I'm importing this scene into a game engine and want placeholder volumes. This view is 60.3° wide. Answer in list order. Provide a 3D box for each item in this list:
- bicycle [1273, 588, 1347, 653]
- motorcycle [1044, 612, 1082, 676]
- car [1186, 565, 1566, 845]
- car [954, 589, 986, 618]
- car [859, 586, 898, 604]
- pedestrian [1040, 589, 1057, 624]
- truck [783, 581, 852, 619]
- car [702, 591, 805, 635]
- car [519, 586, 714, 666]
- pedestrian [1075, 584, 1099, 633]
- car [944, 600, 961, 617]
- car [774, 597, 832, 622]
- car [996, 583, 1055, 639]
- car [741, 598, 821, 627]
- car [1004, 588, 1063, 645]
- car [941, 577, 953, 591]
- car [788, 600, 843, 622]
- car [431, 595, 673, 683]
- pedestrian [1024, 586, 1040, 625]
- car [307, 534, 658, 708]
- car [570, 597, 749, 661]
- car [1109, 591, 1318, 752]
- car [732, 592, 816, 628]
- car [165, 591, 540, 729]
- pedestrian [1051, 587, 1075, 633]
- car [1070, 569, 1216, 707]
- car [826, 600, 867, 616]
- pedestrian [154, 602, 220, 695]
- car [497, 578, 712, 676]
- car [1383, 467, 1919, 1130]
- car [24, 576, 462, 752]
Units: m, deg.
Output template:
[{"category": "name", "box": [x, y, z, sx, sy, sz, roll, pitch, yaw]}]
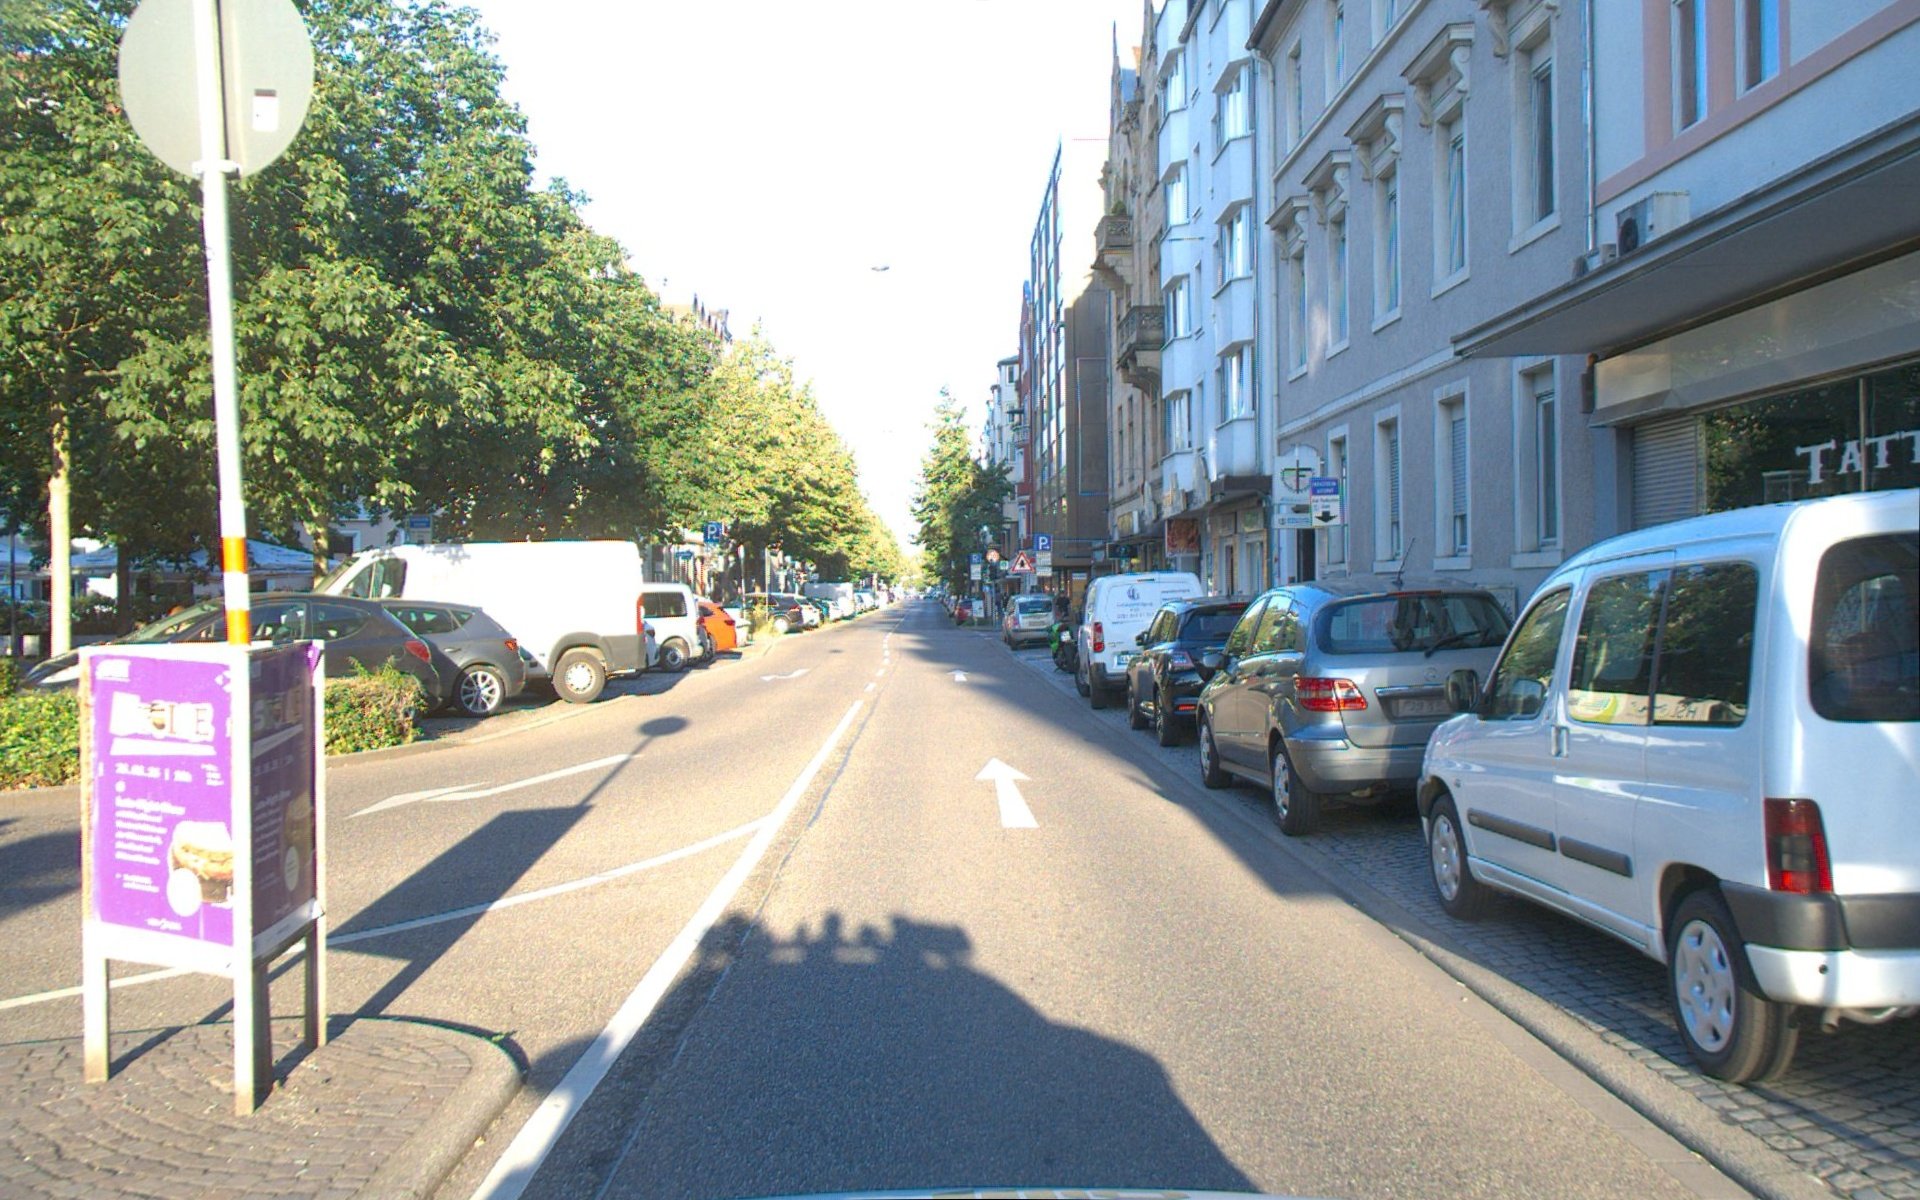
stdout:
[{"category": "bicycle", "box": [5.655, 0.332, 26.836, 0.447, 1.029, 1.706, 0, -1, -15]}, {"category": "motorcycle", "box": [2.097, 0.881, 33.883, 0.576, 1.221, 2.210, 0, 1, -2]}, {"category": "car", "box": [2.808, 0.618, 12.084, 1.623, 1.694, 4.106, 0, 0, -2]}, {"category": "car", "box": [0.577, 0.209, 97.679, 1.545, 1.569, 3.394, -3, 0, -4]}, {"category": "car", "box": [-7.888, -0.496, 160.002, 3.664, 1.738, 1.999, 0, 1, -2]}, {"category": "pedestrian", "box": [4.472, 0.339, 83.709, 0.750, 1.718, 0.785, -2, 0, -4]}, {"category": "truck", "box": [-10.318, -0.006, 120.102, 4.841, 2.661, 1.999, 0, 0, -2]}, {"category": "car", "box": [-9.176, 0.573, 73.729, 4.359, 1.867, 2.033, 0, 2, -2]}, {"category": "car", "box": [-7.726, 0.567, 37.336, 3.958, 1.726, 1.727, 1, 0, -38]}, {"category": "pedestrian", "box": [4.628, 0.300, 60.402, 0.740, 1.798, 1.222, 0, 0, -2]}, {"category": "car", "box": [-0.598, 0.652, 129.694, 1.182, 1.323, 2.658, 0, 0, -4]}, {"category": "car", "box": [-10.275, 0.641, 108.665, 3.664, 1.624, 1.999, 0, 0, -2]}, {"category": "car", "box": [2.170, 0.337, 55.731, 1.662, 1.800, 3.999, -1, 1, -2]}, {"category": "car", "box": [-9.555, 0.665, 88.676, 4.091, 1.533, 1.999, 0, 0, -2]}, {"category": "car", "box": [2.231, 0.462, 50.862, 1.646, 1.588, 4.001, -2, 1, 1]}, {"category": "car", "box": [-1.617, -1.935, 200.100, 1.283, 1.628, 2.658, 0, 0, -4]}, {"category": "car", "box": [-9.944, 0.724, 113.789, 3.664, 1.475, 1.999, 0, 0, -2]}, {"category": "car", "box": [-7.488, 0.677, 30.543, 3.962, 1.518, 1.823, 0, 0, -40]}, {"category": "pedestrian", "box": [3.638, 0.272, 83.684, 0.700, 1.898, 0.679, -1, 0, -4]}, {"category": "car", "box": [-6.874, 0.279, 23.866, 4.546, 2.290, 2.183, 0, 0, -28]}, {"category": "car", "box": [-7.428, 0.689, 40.873, 3.946, 1.512, 1.979, 0, 0, -31]}, {"category": "car", "box": [2.694, 0.700, 18.358, 1.633, 1.571, 3.882, 0, 1, -2]}, {"category": "car", "box": [-9.051, 0.484, 80.764, 3.909, 1.738, 1.832, 0, 1, -2]}, {"category": "car", "box": [-7.368, 0.650, 20.240, 3.964, 1.512, 1.806, 0, 1, -41]}, {"category": "pedestrian", "box": [3.774, 0.357, 60.726, 0.740, 1.669, 1.258, 0, 0, -2]}, {"category": "car", "box": [2.633, 0.495, 24.621, 1.675, 1.867, 4.306, 0, 1, 0]}, {"category": "car", "box": [-10.531, 0.743, 153.258, 3.664, 1.519, 1.999, 0, 0, -2]}, {"category": "pedestrian", "box": [-11.139, 0.679, 23.820, 0.741, 1.300, 0.652, 0, 1, -38]}, {"category": "car", "box": [-7.301, 0.509, 34.118, 3.958, 1.911, 1.846, 0, 1, -38]}, {"category": "car", "box": [3.137, 0.531, 6.630, 1.756, 1.823, 4.091, -1, 0, -1]}, {"category": "car", "box": [-7.291, 0.590, 16.953, 3.841, 1.610, 1.779, 0, 0, -37]}]
